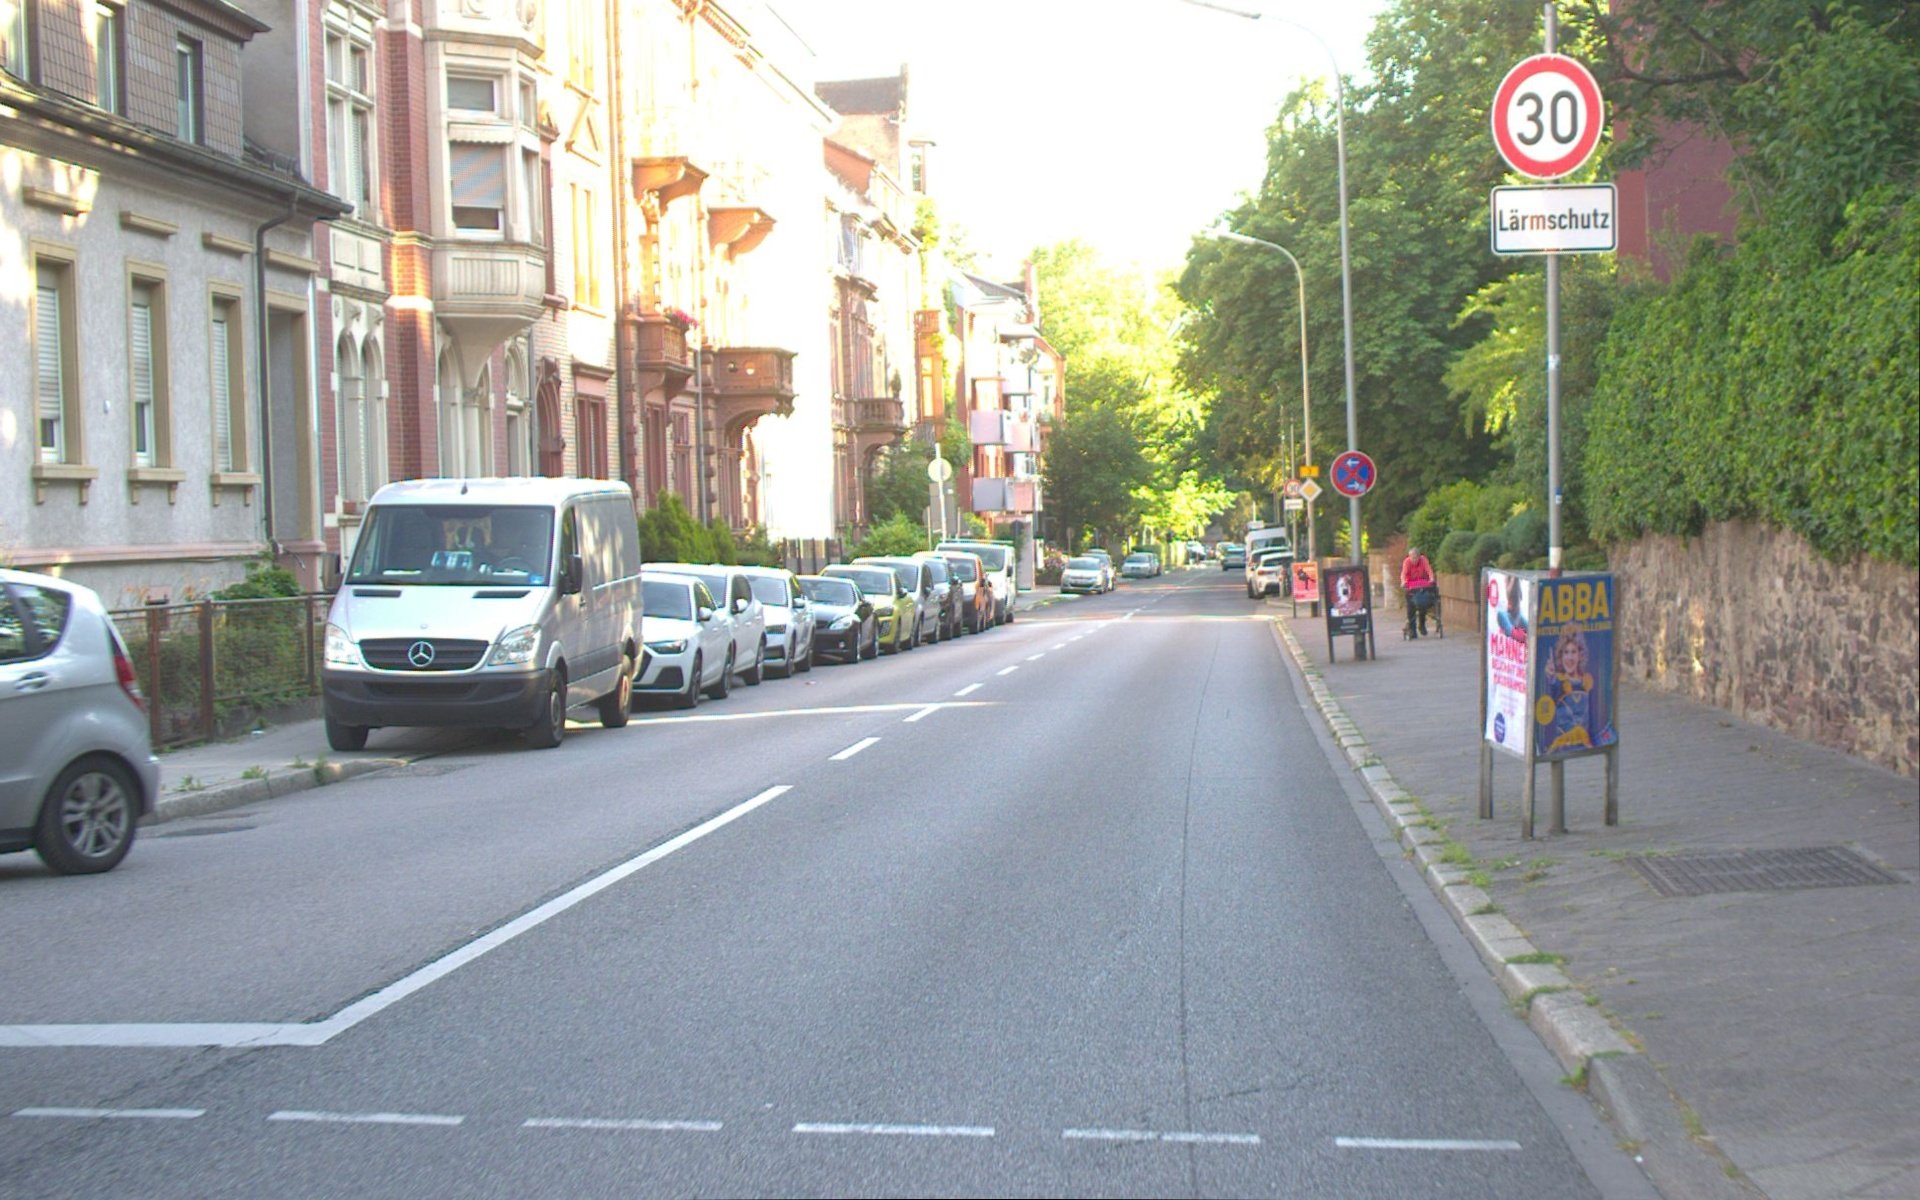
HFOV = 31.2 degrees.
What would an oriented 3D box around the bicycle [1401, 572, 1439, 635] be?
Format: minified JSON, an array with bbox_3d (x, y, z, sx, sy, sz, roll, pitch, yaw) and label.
[{"bbox_3d":[7.226,0.058,54.030,0.566,0.967,0.492,0,2,4],"label":"bicycle"}]

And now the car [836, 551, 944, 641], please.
[{"bbox_3d":[-1.262,-0.103,63.361,1.702,1.578,3.635,0,1,4],"label":"car"}]

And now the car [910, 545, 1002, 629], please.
[{"bbox_3d":[-0.062,-0.297,73.378,1.702,1.732,3.857,0,1,4],"label":"car"}]

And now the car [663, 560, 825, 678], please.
[{"bbox_3d":[-2.968,0.223,48.133,1.702,1.531,4.549,0,1,4],"label":"car"}]

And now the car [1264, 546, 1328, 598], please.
[{"bbox_3d":[10.957,-0.917,111.954,1.994,1.512,3.999,-2,2,6],"label":"car"}]

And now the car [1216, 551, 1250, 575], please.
[{"bbox_3d":[18.581,-2.517,233.990,1.993,1.486,4.470,-2,2,2],"label":"car"}]

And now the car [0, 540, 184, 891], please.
[{"bbox_3d":[-5.857,0.580,16.025,1.957,1.643,4.276,1,2,31],"label":"car"}]

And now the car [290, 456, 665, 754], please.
[{"bbox_3d":[-4.237,-0.016,31.341,2.068,2.452,6.013,0,1,5],"label":"car"}]

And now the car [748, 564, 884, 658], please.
[{"bbox_3d":[-2.199,0.144,53.320,1.702,1.362,3.859,0,1,4],"label":"car"}]

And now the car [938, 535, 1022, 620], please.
[{"bbox_3d":[0.526,-0.584,84.310,1.793,2.003,4.697,0,1,4],"label":"car"}]

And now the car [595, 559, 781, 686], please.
[{"bbox_3d":[-3.390,0.252,43.499,1.703,1.497,4.020,0,1,5],"label":"car"}]

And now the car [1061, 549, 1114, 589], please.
[{"bbox_3d":[5.406,-1.334,145.115,1.994,1.486,4.470,-2,2,5],"label":"car"}]

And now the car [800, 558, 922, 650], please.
[{"bbox_3d":[-1.652,0.079,58.368,1.702,1.498,4.072,0,0,4],"label":"car"}]

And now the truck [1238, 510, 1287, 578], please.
[{"bbox_3d":[13.473,-2.530,153.167,1.994,2.887,4.470,-2,2,4],"label":"truck"}]

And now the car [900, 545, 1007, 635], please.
[{"bbox_3d":[-0.090,-0.222,68.548,1.703,1.702,4.440,0,1,5],"label":"car"}]

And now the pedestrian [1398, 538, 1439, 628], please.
[{"bbox_3d":[7.279,-0.276,54.617,0.598,1.398,0.668,0,2,3],"label":"pedestrian"}]

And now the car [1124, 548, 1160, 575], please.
[{"bbox_3d":[11.211,-2.386,211.537,1.994,1.486,4.470,-2,2,5],"label":"car"}]

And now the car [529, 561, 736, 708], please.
[{"bbox_3d":[-3.566,0.342,38.031,1.702,1.497,3.823,0,1,4],"label":"car"}]
